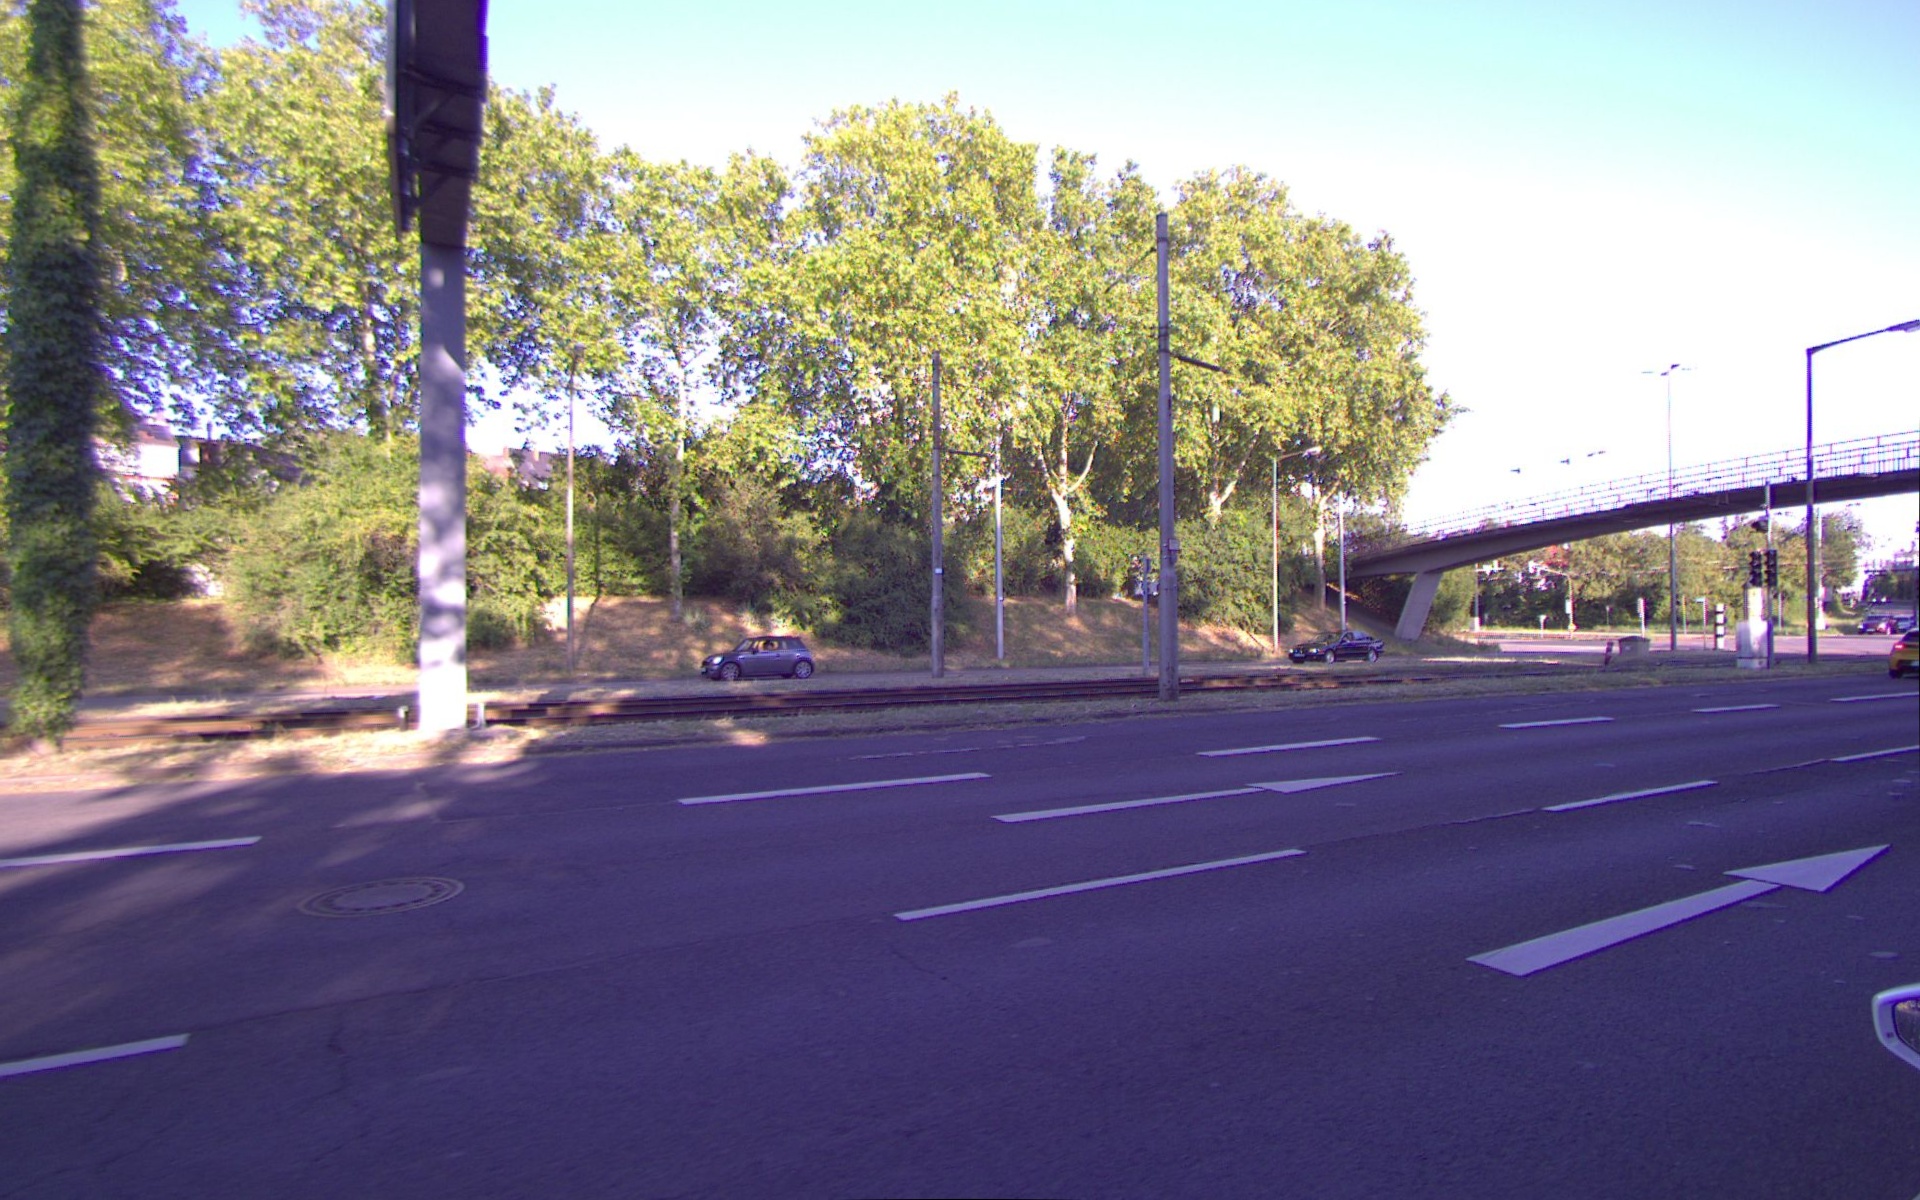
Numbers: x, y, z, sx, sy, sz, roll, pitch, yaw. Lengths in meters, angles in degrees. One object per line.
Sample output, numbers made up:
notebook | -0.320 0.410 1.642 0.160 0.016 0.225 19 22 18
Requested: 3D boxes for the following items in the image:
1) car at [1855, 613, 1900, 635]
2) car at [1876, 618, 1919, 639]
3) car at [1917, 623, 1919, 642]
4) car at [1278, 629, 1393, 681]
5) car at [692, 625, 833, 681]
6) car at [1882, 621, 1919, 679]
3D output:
car | 78.827 2.072 86.301 3.956 1.795 1.868 1 0 -32
car | 84.651 2.586 90.687 3.956 1.795 1.868 1 0 -32
car | 82.598 2.714 84.717 3.634 1.596 1.868 1 0 -32
car | 15.820 2.296 42.273 4.450 2.040 1.915 0 -3 -24
car | -6.461 1.710 32.957 4.143 1.703 1.984 1 -3 -31
car | 28.307 1.398 28.811 3.954 1.586 1.655 1 -3 -31
